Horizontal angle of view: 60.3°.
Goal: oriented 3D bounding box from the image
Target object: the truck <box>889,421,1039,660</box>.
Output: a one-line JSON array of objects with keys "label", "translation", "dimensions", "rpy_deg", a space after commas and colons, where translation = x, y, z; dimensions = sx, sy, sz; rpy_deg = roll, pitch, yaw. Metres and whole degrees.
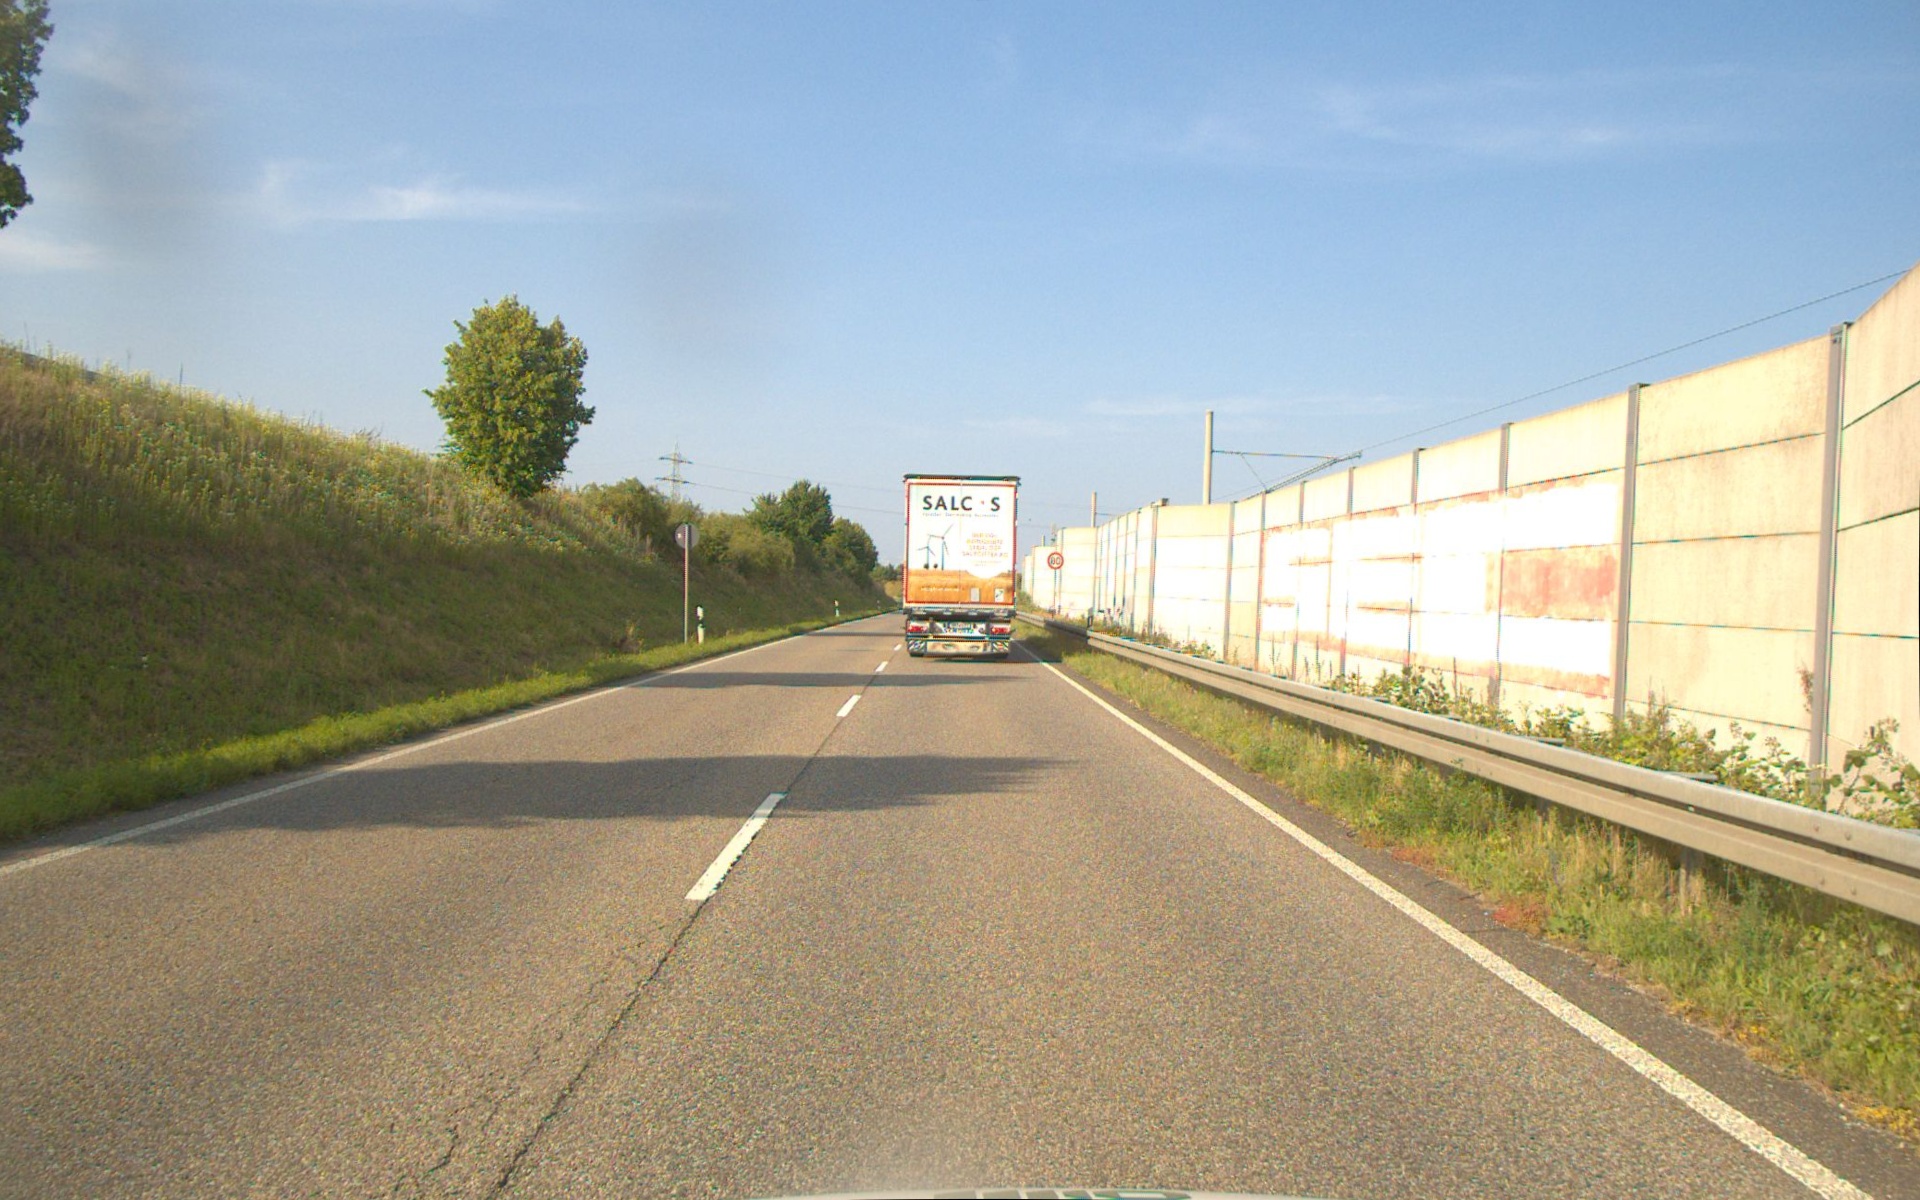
[{"label": "truck", "translation": [-0.117, -1.356, 42.132], "dimensions": [3.224, 5.179, 12.033], "rpy_deg": [1, 1, -2]}]
